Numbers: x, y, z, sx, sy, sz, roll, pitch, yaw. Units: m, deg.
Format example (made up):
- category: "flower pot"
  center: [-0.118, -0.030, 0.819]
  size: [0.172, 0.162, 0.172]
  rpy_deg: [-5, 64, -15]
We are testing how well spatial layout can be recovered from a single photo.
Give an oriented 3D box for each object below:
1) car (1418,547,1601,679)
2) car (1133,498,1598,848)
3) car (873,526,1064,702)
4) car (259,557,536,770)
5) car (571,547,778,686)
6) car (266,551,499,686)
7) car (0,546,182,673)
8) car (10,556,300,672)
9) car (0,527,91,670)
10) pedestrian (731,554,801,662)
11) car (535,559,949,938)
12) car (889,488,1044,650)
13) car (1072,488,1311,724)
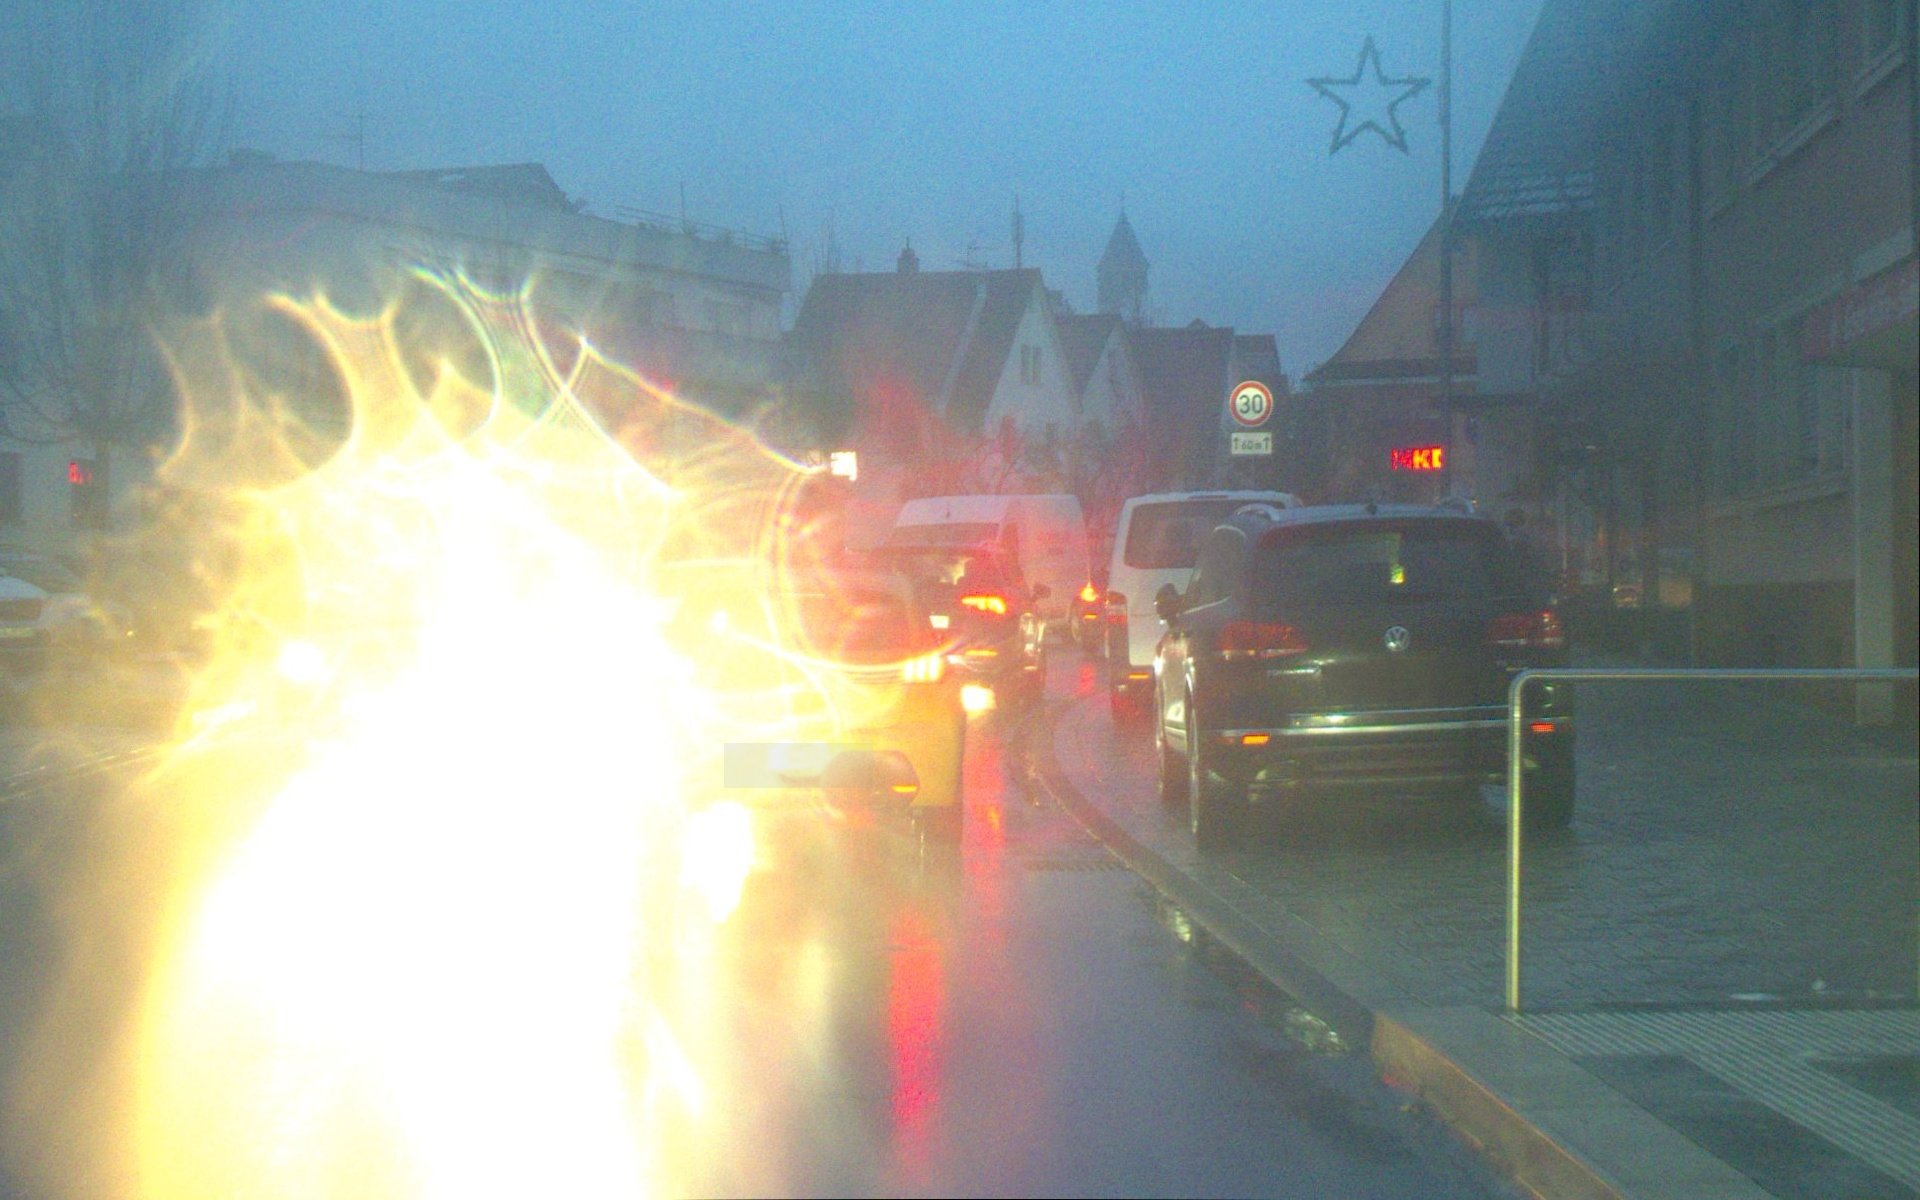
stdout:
- category: "car"
  center: [6.873, 0.132, 43.303]
  size: [1.734, 1.556, 3.663]
  rpy_deg: [-1, 1, 1]
- category: "car"
  center: [2.066, 0.310, 18.806]
  size: [1.974, 1.655, 4.460]
  rpy_deg: [-1, 1, 0]
- category: "car"
  center: [0.137, 0.112, 34.778]
  size: [1.798, 1.656, 4.000]
  rpy_deg: [1, 1, 2]
- category: "car"
  center: [-4.359, 0.440, 27.118]
  size: [1.619, 1.475, 3.839]
  rpy_deg: [-2, 1, -2]
- category: "car"
  center: [-3.341, 0.156, 41.022]
  size: [1.826, 1.513, 4.548]
  rpy_deg: [-1, 1, 3]
- category: "car"
  center: [-6.916, 0.180, 41.594]
  size: [1.905, 1.528, 4.256]
  rpy_deg: [0, 1, 3]
- category: "car"
  center: [-12.151, 0.141, 44.768]
  size: [4.109, 1.577, 1.717]
  rpy_deg: [-1, 0, 38]
- category: "car"
  center: [-11.160, 0.157, 47.534]
  size: [3.997, 1.525, 1.995]
  rpy_deg: [1, 1, 43]
- category: "car"
  center: [-12.693, -0.005, 41.210]
  size: [4.651, 1.648, 1.983]
  rpy_deg: [-1, 0, 38]
- category: "pedestrian"
  center: [-3.385, 0.133, 60.039]
  size: [0.755, 1.860, 1.059]
  rpy_deg: [0, 0, 30]
- category: "car"
  center: [-1.111, 0.693, 19.074]
  size: [1.993, 1.789, 4.649]
  rpy_deg: [-1, 1, -1]
- category: "car"
  center: [0.171, -0.534, 56.335]
  size: [2.195, 2.482, 6.142]
  rpy_deg: [-1, 1, 3]
- category: "car"
  center: [2.091, 0.007, 31.219]
  size: [1.973, 1.953, 4.851]
  rpy_deg: [-1, 1, 4]
